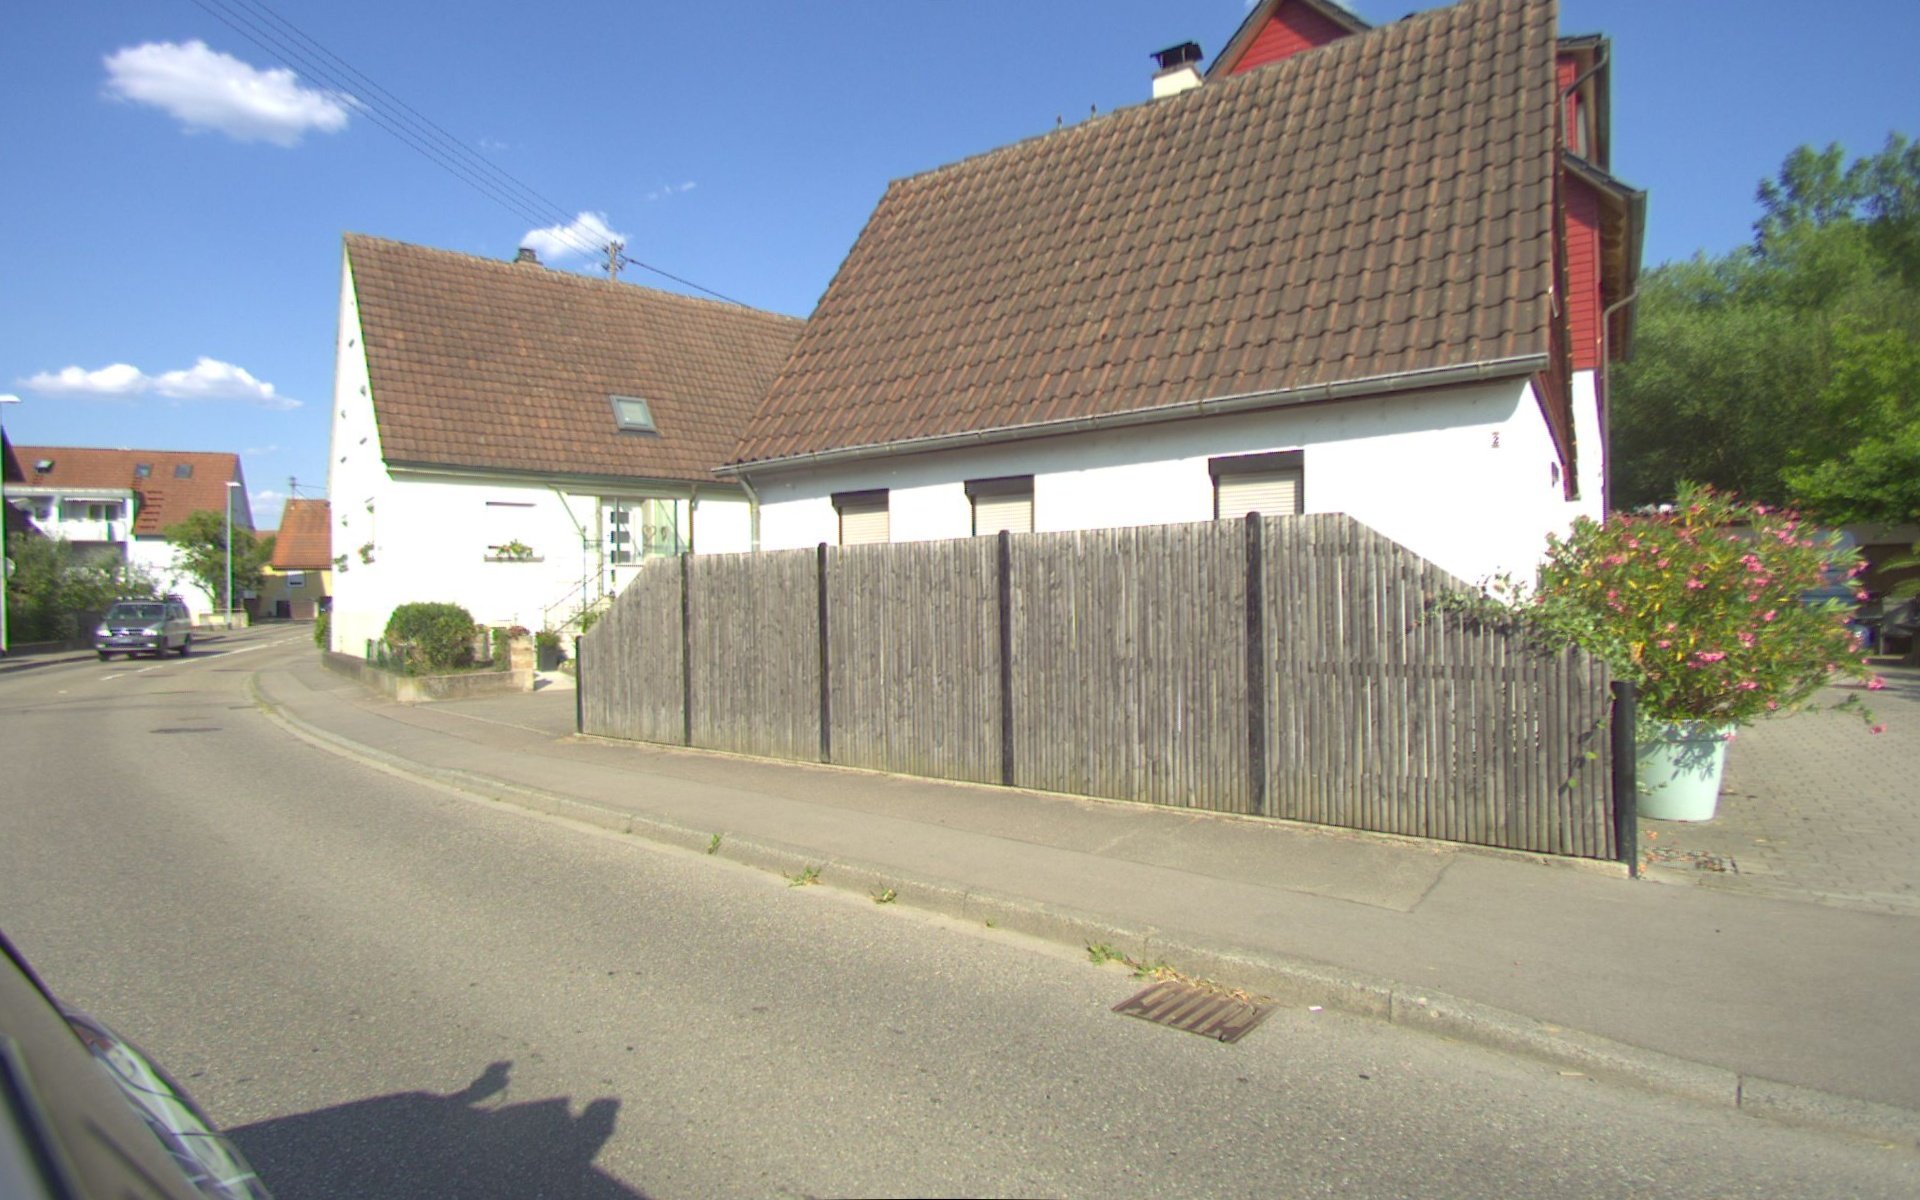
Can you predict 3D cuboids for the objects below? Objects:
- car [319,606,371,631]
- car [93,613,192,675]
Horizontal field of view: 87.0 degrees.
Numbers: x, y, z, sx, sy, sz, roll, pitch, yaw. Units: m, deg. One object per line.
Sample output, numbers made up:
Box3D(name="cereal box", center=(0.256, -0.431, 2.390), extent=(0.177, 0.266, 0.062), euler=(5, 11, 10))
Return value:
Box3D(name="car", center=(-42.774, 1.300, 70.457), extent=(1.941, 1.669, 4.010), euler=(0, -1, -13))
Box3D(name="car", center=(-28.845, 1.523, 35.860), extent=(1.790, 2.015, 4.836), euler=(-1, -1, -28))
